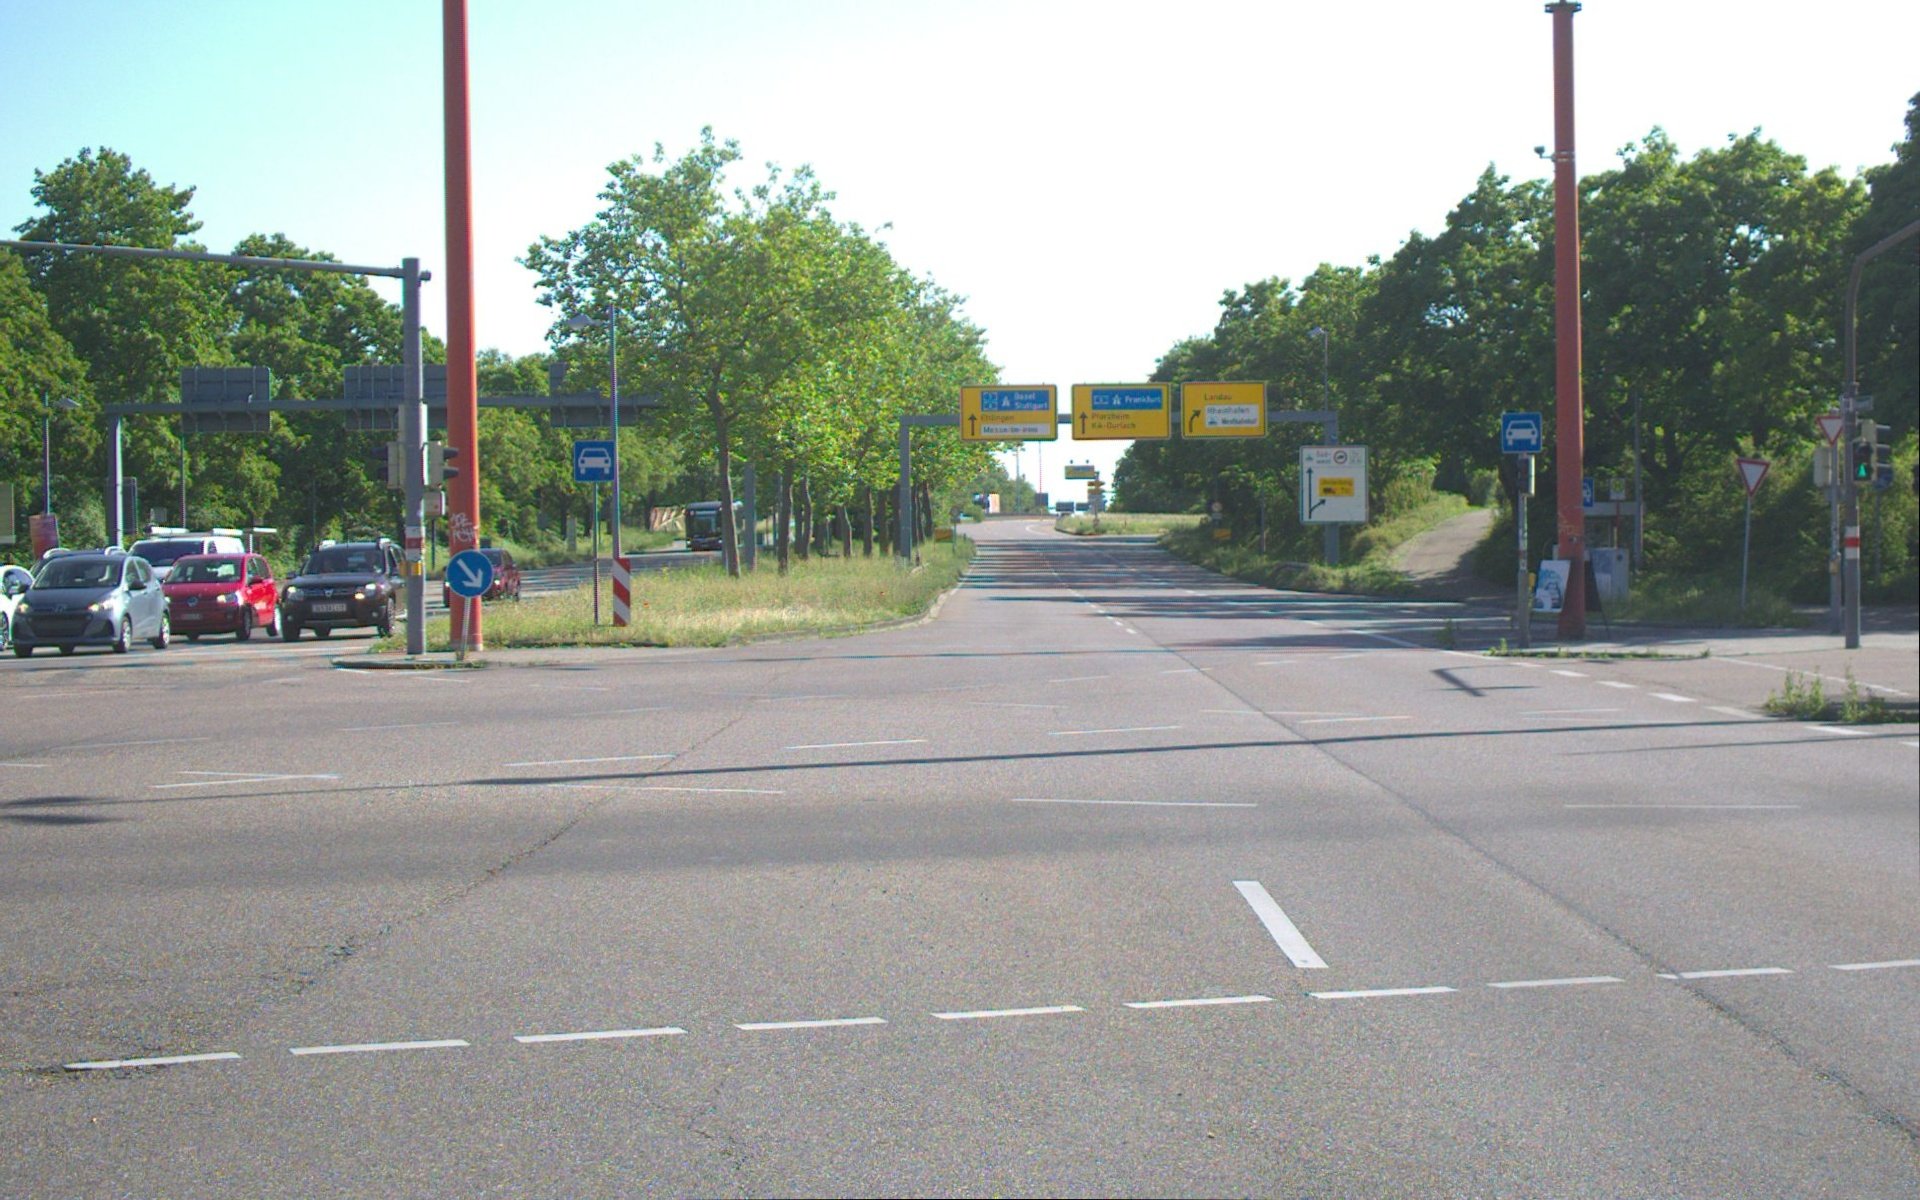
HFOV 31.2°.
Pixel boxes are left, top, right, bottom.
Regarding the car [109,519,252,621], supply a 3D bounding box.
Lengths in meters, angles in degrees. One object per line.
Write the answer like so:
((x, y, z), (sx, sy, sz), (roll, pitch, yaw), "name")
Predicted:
((-15.999, -0.626, 70.792), (1.893, 2.019, 5.224), (0, 1, -1), "car")

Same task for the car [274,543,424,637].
((-10.148, -0.198, 57.319), (1.819, 1.503, 4.000), (-1, 1, -1), "car")

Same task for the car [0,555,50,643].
((-16.420, -0.022, 57.059), (1.739, 1.406, 3.613), (-1, 1, -1), "car")

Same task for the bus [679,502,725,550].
((-17.679, -5.046, 236.268), (2.492, 3.227, 10.001), (-1, 1, -1), "bus")

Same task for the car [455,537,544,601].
((-11.955, -0.829, 89.449), (1.819, 1.623, 4.000), (-1, 1, -1), "car")

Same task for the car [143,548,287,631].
((-12.702, -0.203, 58.789), (1.739, 1.357, 3.613), (-1, 1, -1), "car")

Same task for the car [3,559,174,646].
((-13.112, 0.011, 51.914), (1.739, 1.239, 3.613), (-1, 1, -1), "car")
